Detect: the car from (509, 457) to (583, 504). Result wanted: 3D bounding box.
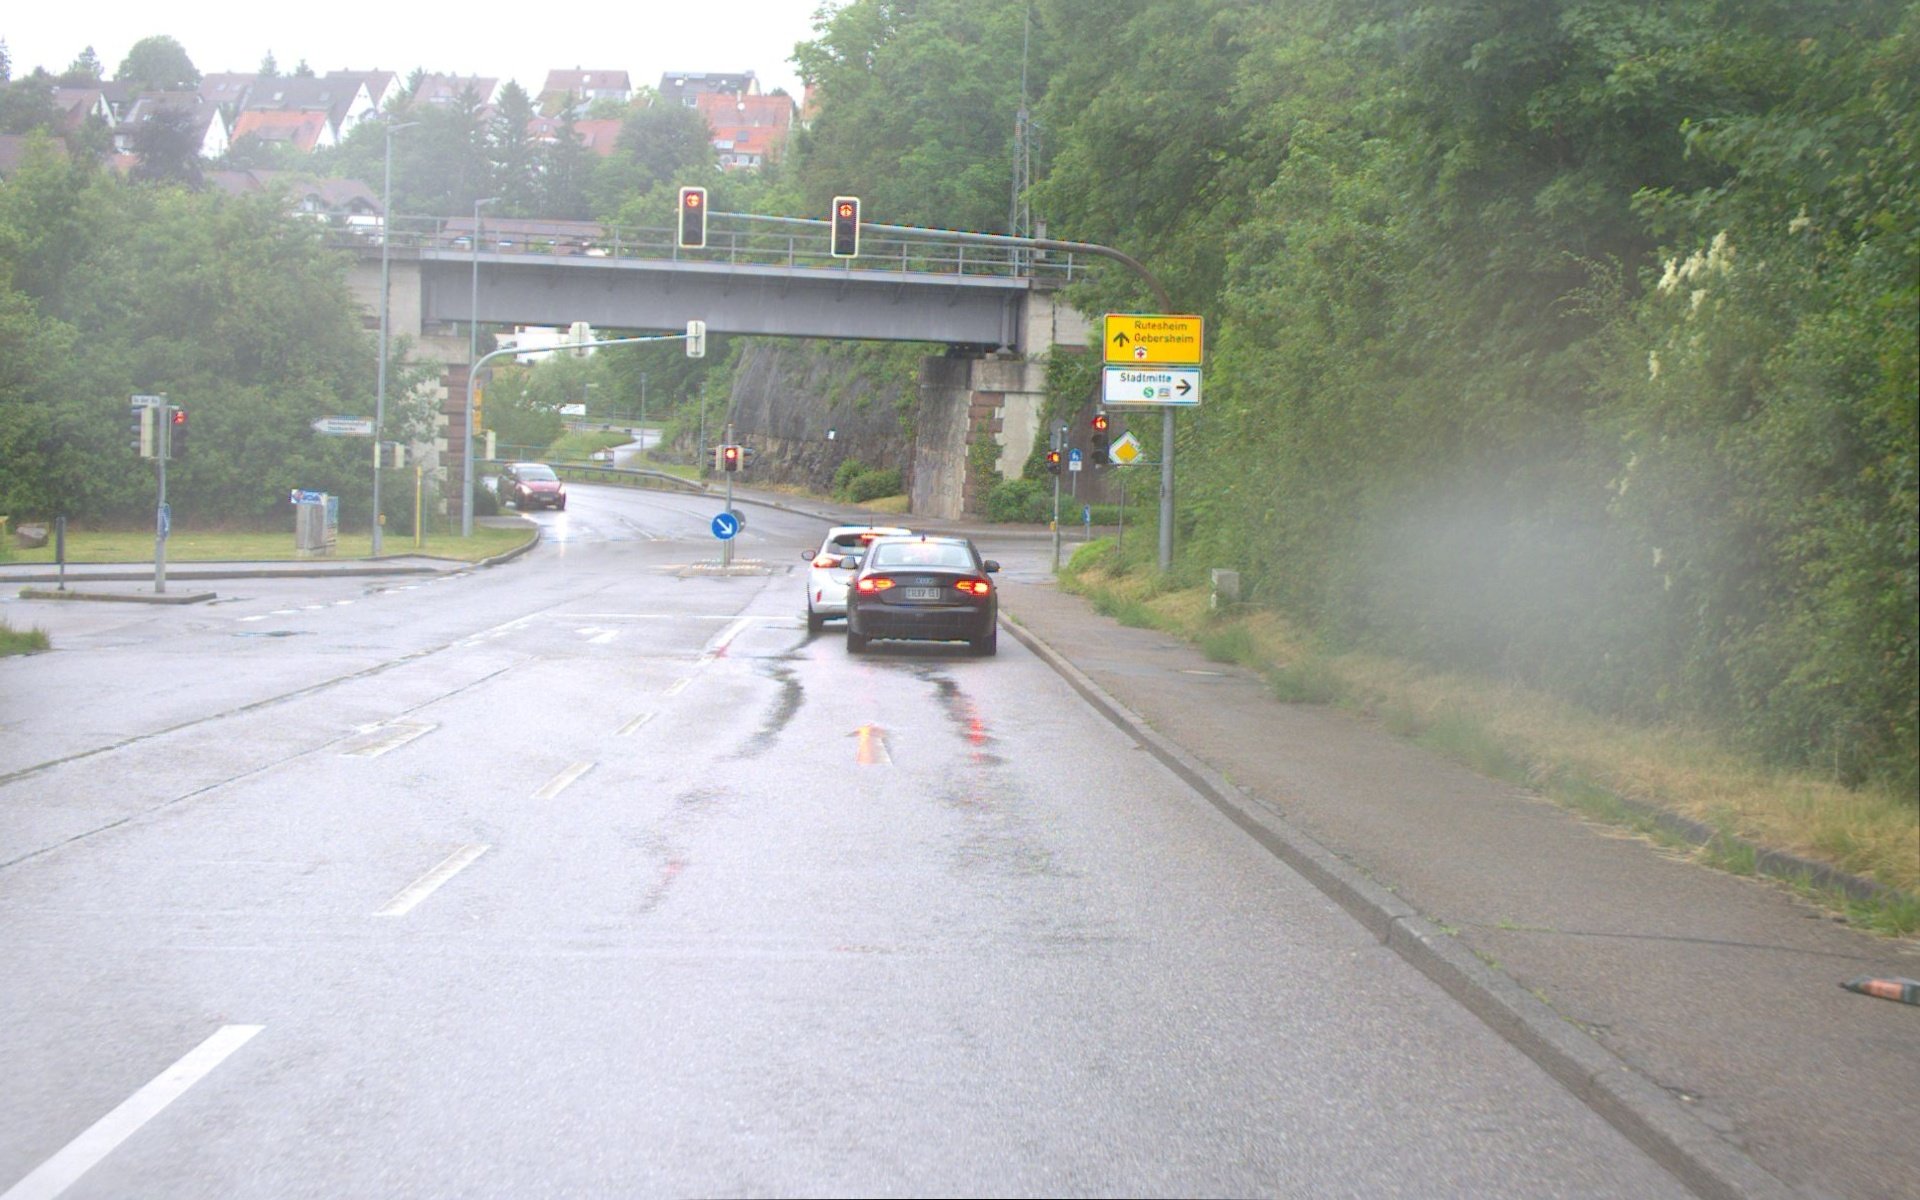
[{"bbox_3d":[-15.914,-4.577,132.020,1.993,1.623,4.001,0,0,-19],"label":"car"}]

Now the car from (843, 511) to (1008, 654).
[{"bbox_3d":[-0.435,-0.248,41.306,1.870,1.611,4.000,1,1,-1],"label":"car"}]

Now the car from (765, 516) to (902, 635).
[{"bbox_3d":[-1.756,-0.352,48.408,1.823,1.579,4.000,1,1,-1],"label":"car"}]
